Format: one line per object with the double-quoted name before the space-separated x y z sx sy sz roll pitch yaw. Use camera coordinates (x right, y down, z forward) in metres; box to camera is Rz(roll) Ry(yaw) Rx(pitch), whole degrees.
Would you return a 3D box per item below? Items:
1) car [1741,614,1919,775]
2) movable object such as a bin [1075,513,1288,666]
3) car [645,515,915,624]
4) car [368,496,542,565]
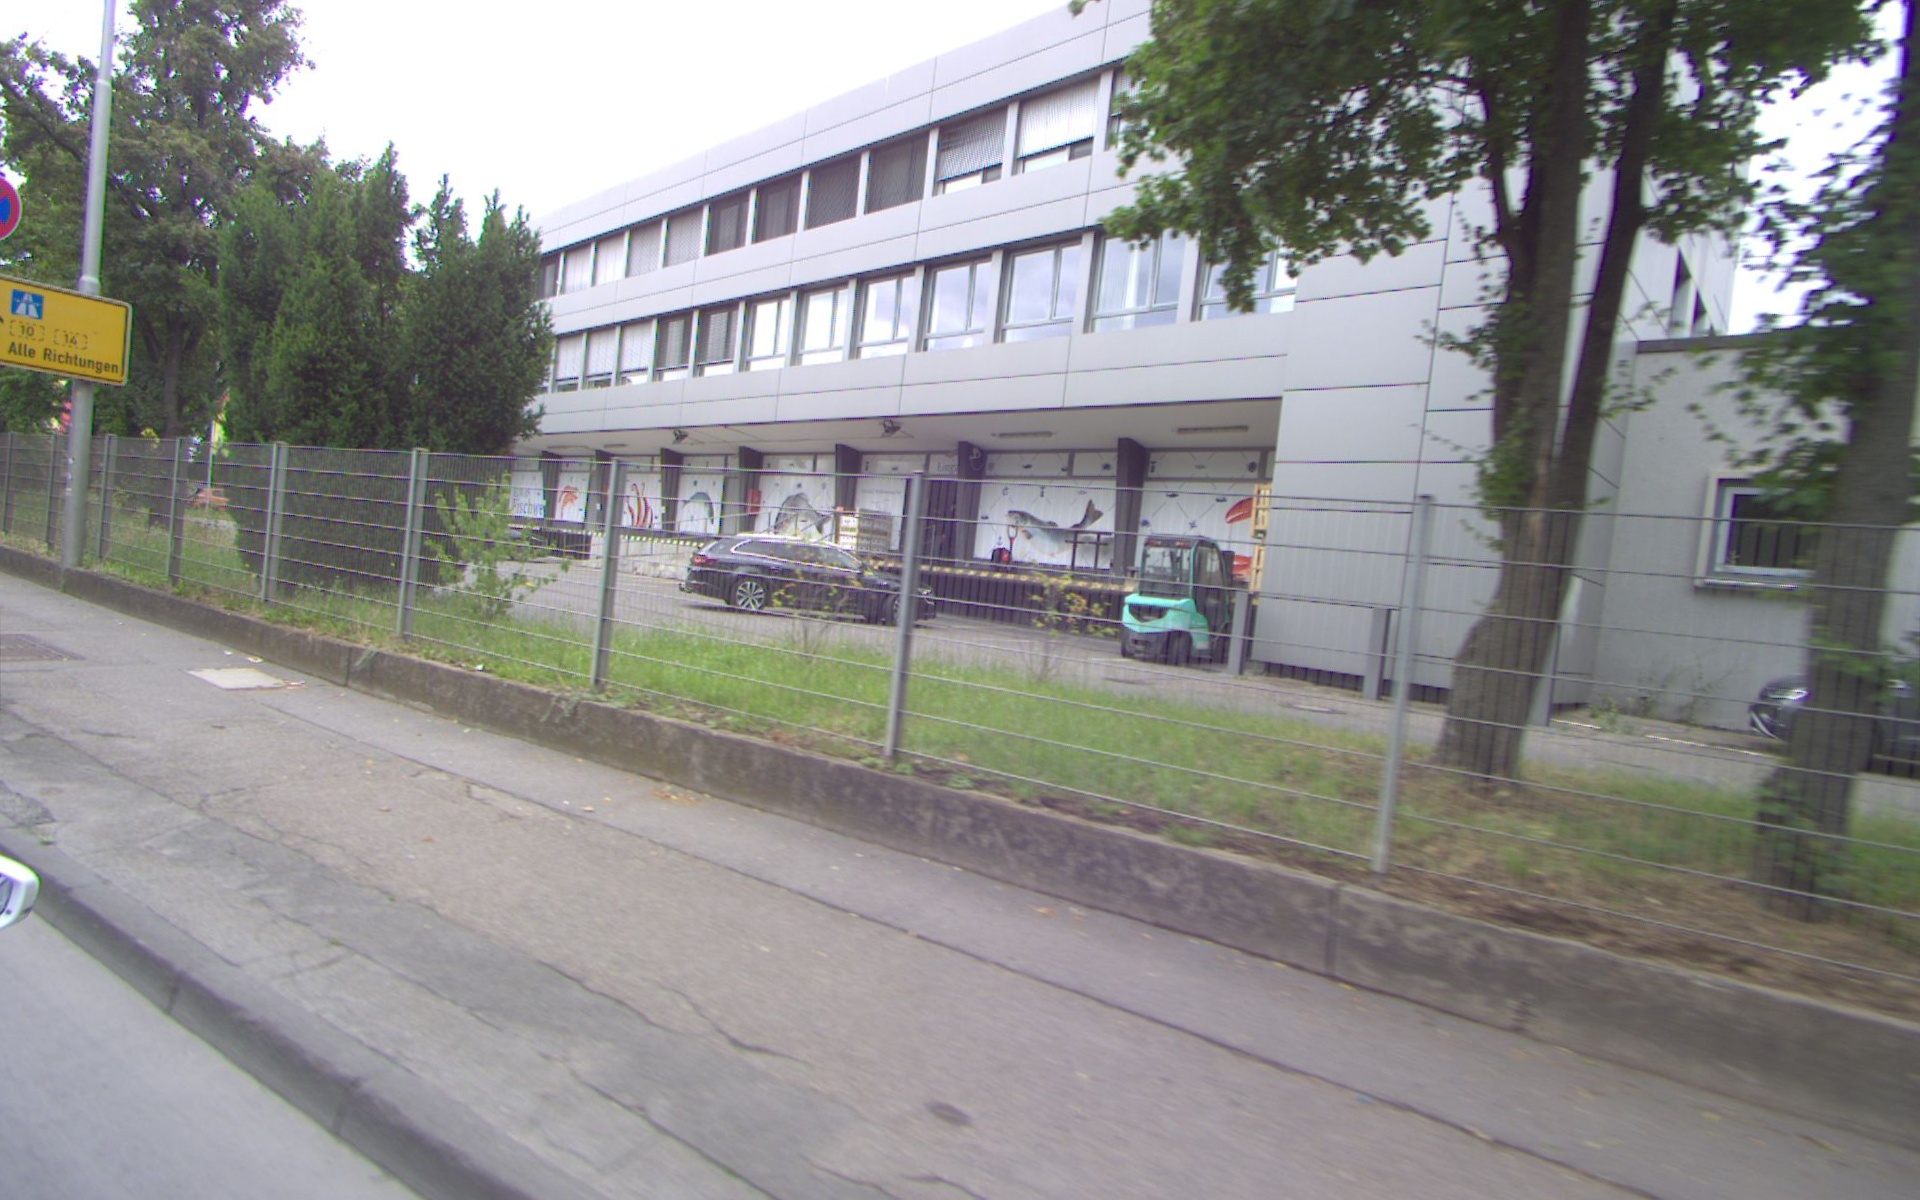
"car" 11.727 1.226 11.355 4.377 1.589 1.988 9 5 40
"movable object such as a bin" 4.079 -0.118 18.101 1.924 2.336 3.980 8 2 39
"car" -3.355 -0.555 18.808 4.617 1.493 1.993 5 2 -14
"car" -16.238 -2.224 32.560 4.801 1.554 2.009 6 2 -27
